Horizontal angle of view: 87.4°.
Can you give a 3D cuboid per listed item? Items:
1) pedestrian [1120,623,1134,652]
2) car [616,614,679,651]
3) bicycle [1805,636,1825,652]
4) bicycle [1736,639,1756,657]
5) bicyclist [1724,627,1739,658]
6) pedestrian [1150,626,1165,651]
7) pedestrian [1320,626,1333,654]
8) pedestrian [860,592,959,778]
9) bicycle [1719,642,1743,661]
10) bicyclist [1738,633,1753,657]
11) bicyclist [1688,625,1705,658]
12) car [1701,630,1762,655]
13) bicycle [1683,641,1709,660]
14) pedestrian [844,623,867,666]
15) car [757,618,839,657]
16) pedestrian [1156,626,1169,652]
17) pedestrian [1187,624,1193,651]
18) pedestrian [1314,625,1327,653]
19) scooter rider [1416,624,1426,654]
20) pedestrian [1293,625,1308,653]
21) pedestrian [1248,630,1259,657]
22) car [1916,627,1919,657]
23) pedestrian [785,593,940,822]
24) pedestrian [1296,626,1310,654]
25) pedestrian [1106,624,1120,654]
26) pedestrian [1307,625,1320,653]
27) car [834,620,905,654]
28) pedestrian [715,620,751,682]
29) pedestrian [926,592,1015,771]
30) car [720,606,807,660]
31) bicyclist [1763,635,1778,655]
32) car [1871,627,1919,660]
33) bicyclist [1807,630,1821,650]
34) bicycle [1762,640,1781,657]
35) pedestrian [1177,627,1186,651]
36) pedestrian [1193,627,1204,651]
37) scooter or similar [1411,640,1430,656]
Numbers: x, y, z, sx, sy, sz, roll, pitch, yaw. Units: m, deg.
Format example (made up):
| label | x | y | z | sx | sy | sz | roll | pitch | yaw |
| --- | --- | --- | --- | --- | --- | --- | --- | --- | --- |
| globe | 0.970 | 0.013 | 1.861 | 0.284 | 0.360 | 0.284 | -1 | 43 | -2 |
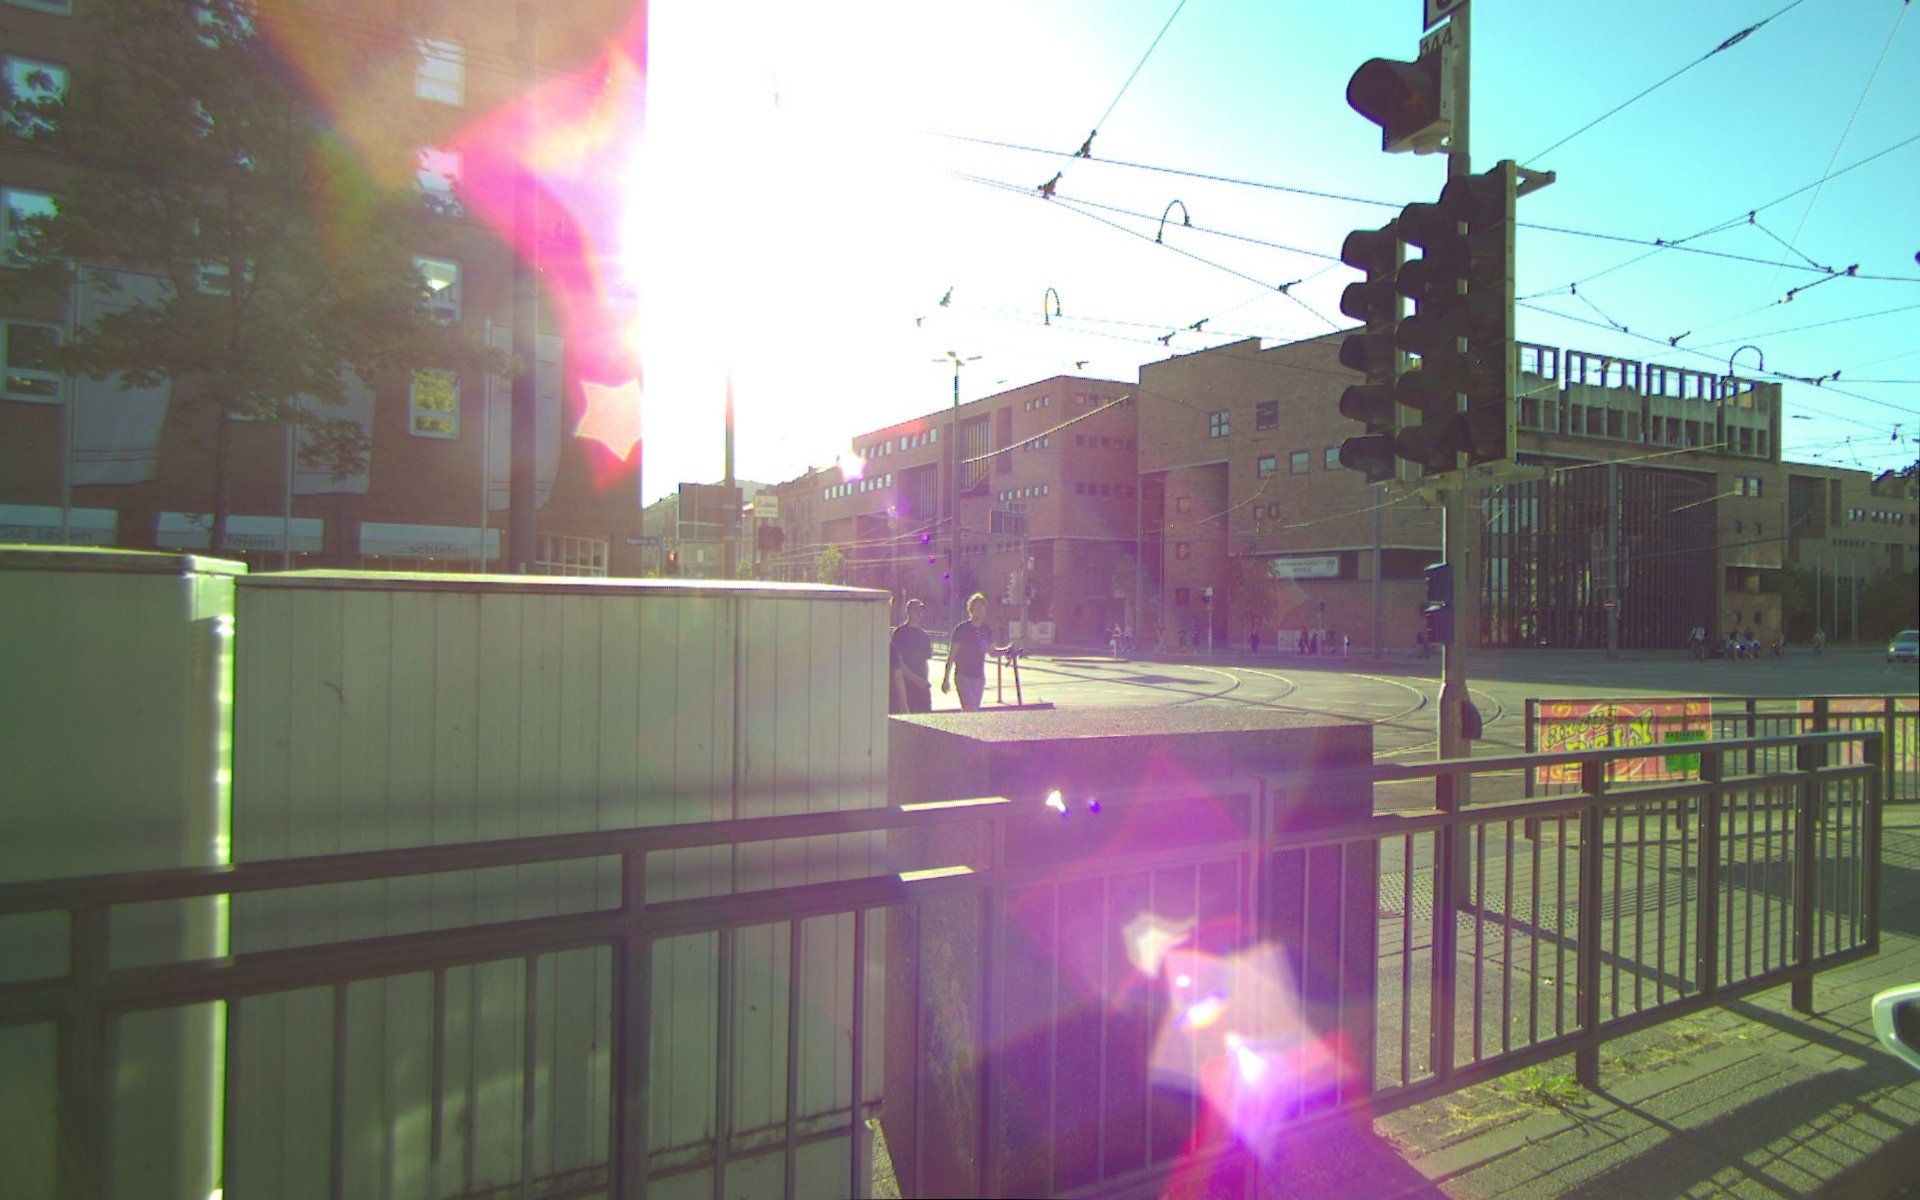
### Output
| label | x | y | z | sx | sy | sz | roll | pitch | yaw |
| --- | --- | --- | --- | --- | --- | --- | --- | --- | --- |
| pedestrian | 9.364 | 2.096 | 56.448 | 0.579 | 1.635 | 0.596 | 0 | -1 | 35 |
| car | -18.881 | 1.913 | 60.563 | 1.982 | 2.122 | 5.156 | 1 | -2 | -38 |
| bicycle | 52.553 | 2.684 | 61.755 | 1.469 | 0.976 | 0.489 | 1 | -1 | -30 |
| bicycle | 44.566 | 2.727 | 56.958 | 1.304 | 0.976 | 0.465 | 1 | -1 | -30 |
| bicyclist | 40.492 | 2.208 | 52.724 | 0.574 | 1.624 | 0.456 | 1 | -1 | -30 |
| pedestrian | 10.885 | 2.097 | 55.401 | 0.668 | 1.357 | 0.604 | 0 | -1 | -2 |
| pedestrian | 22.649 | 2.446 | 62.093 | 0.543 | 1.706 | 0.568 | 1 | -1 | -38 |
| pedestrian | -0.536 | 0.855 | 10.495 | 0.713 | 1.837 | 0.904 | 1 | -1 | -28 |
| bicycle | 40.444 | 2.676 | 52.677 | 1.557 | 0.976 | 0.470 | 1 | -1 | -30 |
| bicyclist | 44.619 | 2.554 | 57.060 | 0.574 | 1.321 | 0.503 | 1 | -1 | -30 |
| bicyclist | 39.101 | 2.190 | 53.354 | 0.574 | 1.754 | 0.534 | 1 | -1 | -30 |
| car | 47.636 | 2.612 | 62.021 | 3.954 | 1.455 | 1.658 | 1 | -2 | -31 |
| bicycle | 39.047 | 2.687 | 53.320 | 1.568 | 0.976 | 0.539 | 1 | -1 | -30 |
| pedestrian | -4.037 | 1.710 | 38.842 | 0.658 | 1.669 | 0.638 | 1 | -1 | -34 |
| car | -8.424 | 1.910 | 51.796 | 1.982 | 1.928 | 5.156 | 1 | -2 | -38 |
| pedestrian | 11.333 | 2.192 | 56.296 | 0.602 | 1.473 | 0.570 | 0 | -1 | -1 |
| pedestrian | 14.140 | 2.286 | 61.746 | 0.393 | 1.635 | 0.413 | 0 | -1 | 11 |
| pedestrian | 22.738 | 2.453 | 63.315 | 0.498 | 1.706 | 0.588 | 1 | -1 | -38 |
| scooter rider | 25.428 | 2.163 | 55.394 | 0.429 | 1.669 | 0.229 | 0 | -1 | 15 |
| pedestrian | 21.218 | 2.442 | 62.560 | 0.645 | 1.706 | 0.615 | 1 | -1 | -38 |
| pedestrian | 17.289 | 2.557 | 59.168 | 0.484 | 1.526 | 0.547 | -1 | -2 | 44 |
| car | 55.245 | 2.331 | 55.888 | 3.954 | 1.661 | 1.983 | 1 | -2 | -31 |
| pedestrian | -0.817 | 0.855 | 8.385 | 1.075 | 1.771 | 0.740 | -2 | -3 | 37 |
| pedestrian | 21.049 | 2.425 | 61.652 | 0.585 | 1.706 | 0.547 | 1 | -1 | -28 |
| pedestrian | 8.531 | 2.195 | 56.121 | 0.541 | 1.670 | 0.598 | -1 | -2 | 42 |
| pedestrian | 22.043 | 2.430 | 62.699 | 0.568 | 1.706 | 0.543 | 1 | -1 | -38 |
| car | -4.730 | 1.921 | 52.314 | 1.980 | 1.572 | 3.961 | 2 | 0 | -35 |
| pedestrian | -6.199 | 1.378 | 27.438 | 0.709 | 1.669 | 0.953 | 1 | -1 | -30 |
| pedestrian | 0.105 | 0.858 | 10.991 | 0.647 | 1.864 | 0.835 | 1 | -1 | -28 |
| car | -9.438 | 1.544 | 47.918 | 1.982 | 2.419 | 5.156 | 1 | -2 | -38 |
| bicyclist | 46.829 | 2.595 | 58.014 | 0.574 | 1.194 | 0.503 | 1 | -1 | -30 |
| car | 48.977 | 2.225 | 51.778 | 3.954 | 1.661 | 1.983 | 1 | -2 | -31 |
| bicyclist | 52.511 | 2.440 | 61.760 | 0.574 | 1.226 | 0.503 | 1 | -1 | -30 |
| bicycle | 46.871 | 2.792 | 58.016 | 1.332 | 0.976 | 0.449 | 1 | -1 | -30 |
| pedestrian | 13.641 | 2.381 | 61.951 | 0.523 | 1.482 | 0.591 | 0 | -1 | 12 |
| pedestrian | 14.636 | 2.393 | 61.724 | 0.549 | 1.445 | 0.556 | 0 | -1 | -2 |
| scooter or similar | 25.372 | 2.640 | 55.371 | 0.931 | 0.911 | 0.176 | 0 | -1 | 14 |
